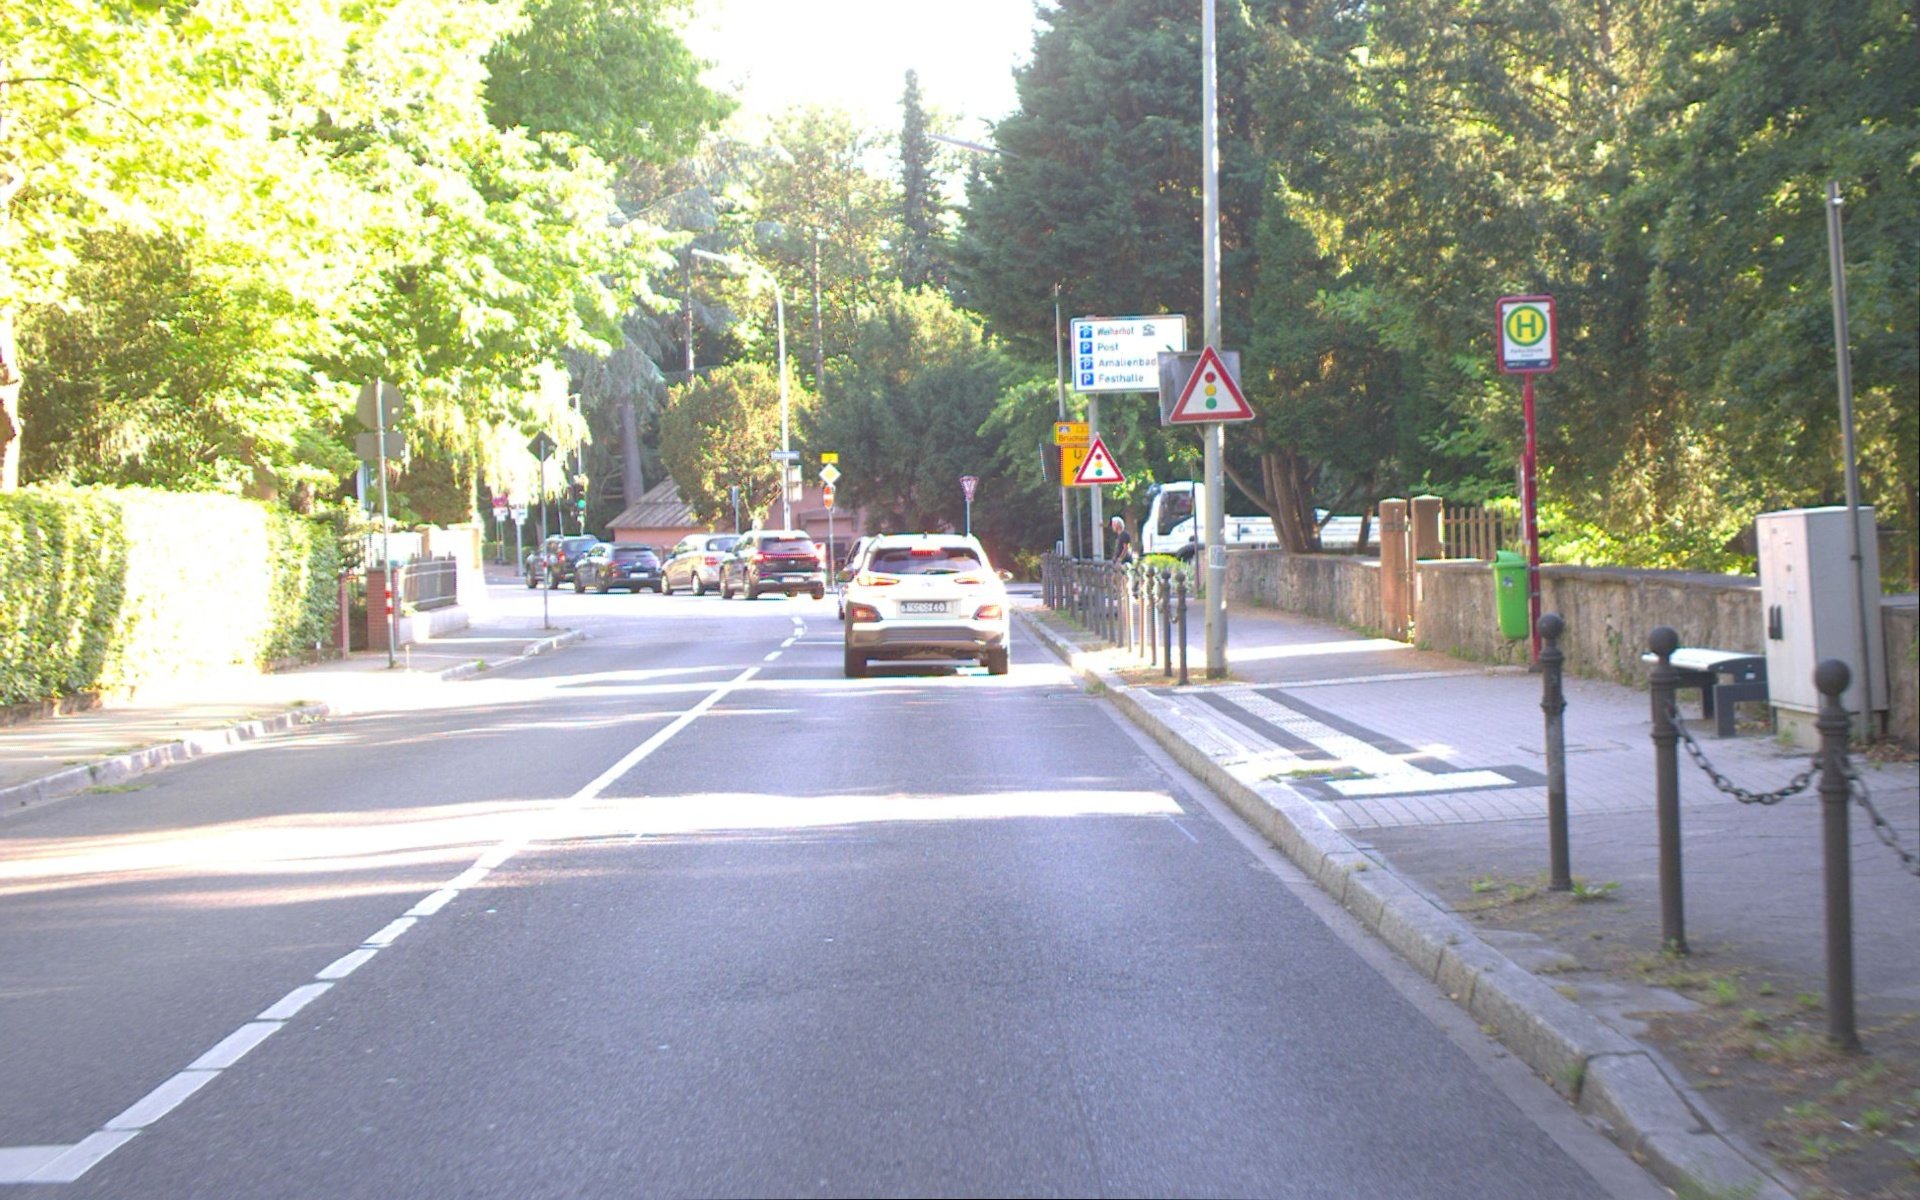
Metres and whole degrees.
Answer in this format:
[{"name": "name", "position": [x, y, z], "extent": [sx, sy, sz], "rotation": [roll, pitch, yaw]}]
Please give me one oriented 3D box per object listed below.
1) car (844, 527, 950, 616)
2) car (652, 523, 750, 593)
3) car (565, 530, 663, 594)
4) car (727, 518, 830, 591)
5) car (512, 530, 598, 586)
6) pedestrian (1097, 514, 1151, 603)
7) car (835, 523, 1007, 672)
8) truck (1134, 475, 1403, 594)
[{"name": "car", "position": [-1.141, -0.530, 61.176], "extent": [1.805, 1.532, 4.000], "rotation": [0, 1, -2]}, {"name": "car", "position": [-6.680, -1.093, 88.321], "extent": [1.831, 1.735, 4.001], "rotation": [0, 1, -14]}, {"name": "car", "position": [-9.642, -1.072, 95.531], "extent": [1.831, 1.656, 4.001], "rotation": [1, 1, -18]}, {"name": "car", "position": [-4.277, -1.084, 80.625], "extent": [1.831, 1.656, 4.001], "rotation": [0, 1, -12]}, {"name": "car", "position": [-12.477, -1.301, 105.742], "extent": [1.831, 1.656, 4.001], "rotation": [0, 1, -19]}, {"name": "pedestrian", "position": [3.419, -0.868, 71.783], "extent": [0.940, 1.820, 0.554], "rotation": [0, 3, -39]}, {"name": "car", "position": [-0.464, -0.066, 39.136], "extent": [1.820, 1.568, 4.000], "rotation": [1, 1, -1]}, {"name": "truck", "position": [7.686, -1.644, 86.087], "extent": [6.588, 2.885, 2.433], "rotation": [1, 1, 4]}]
